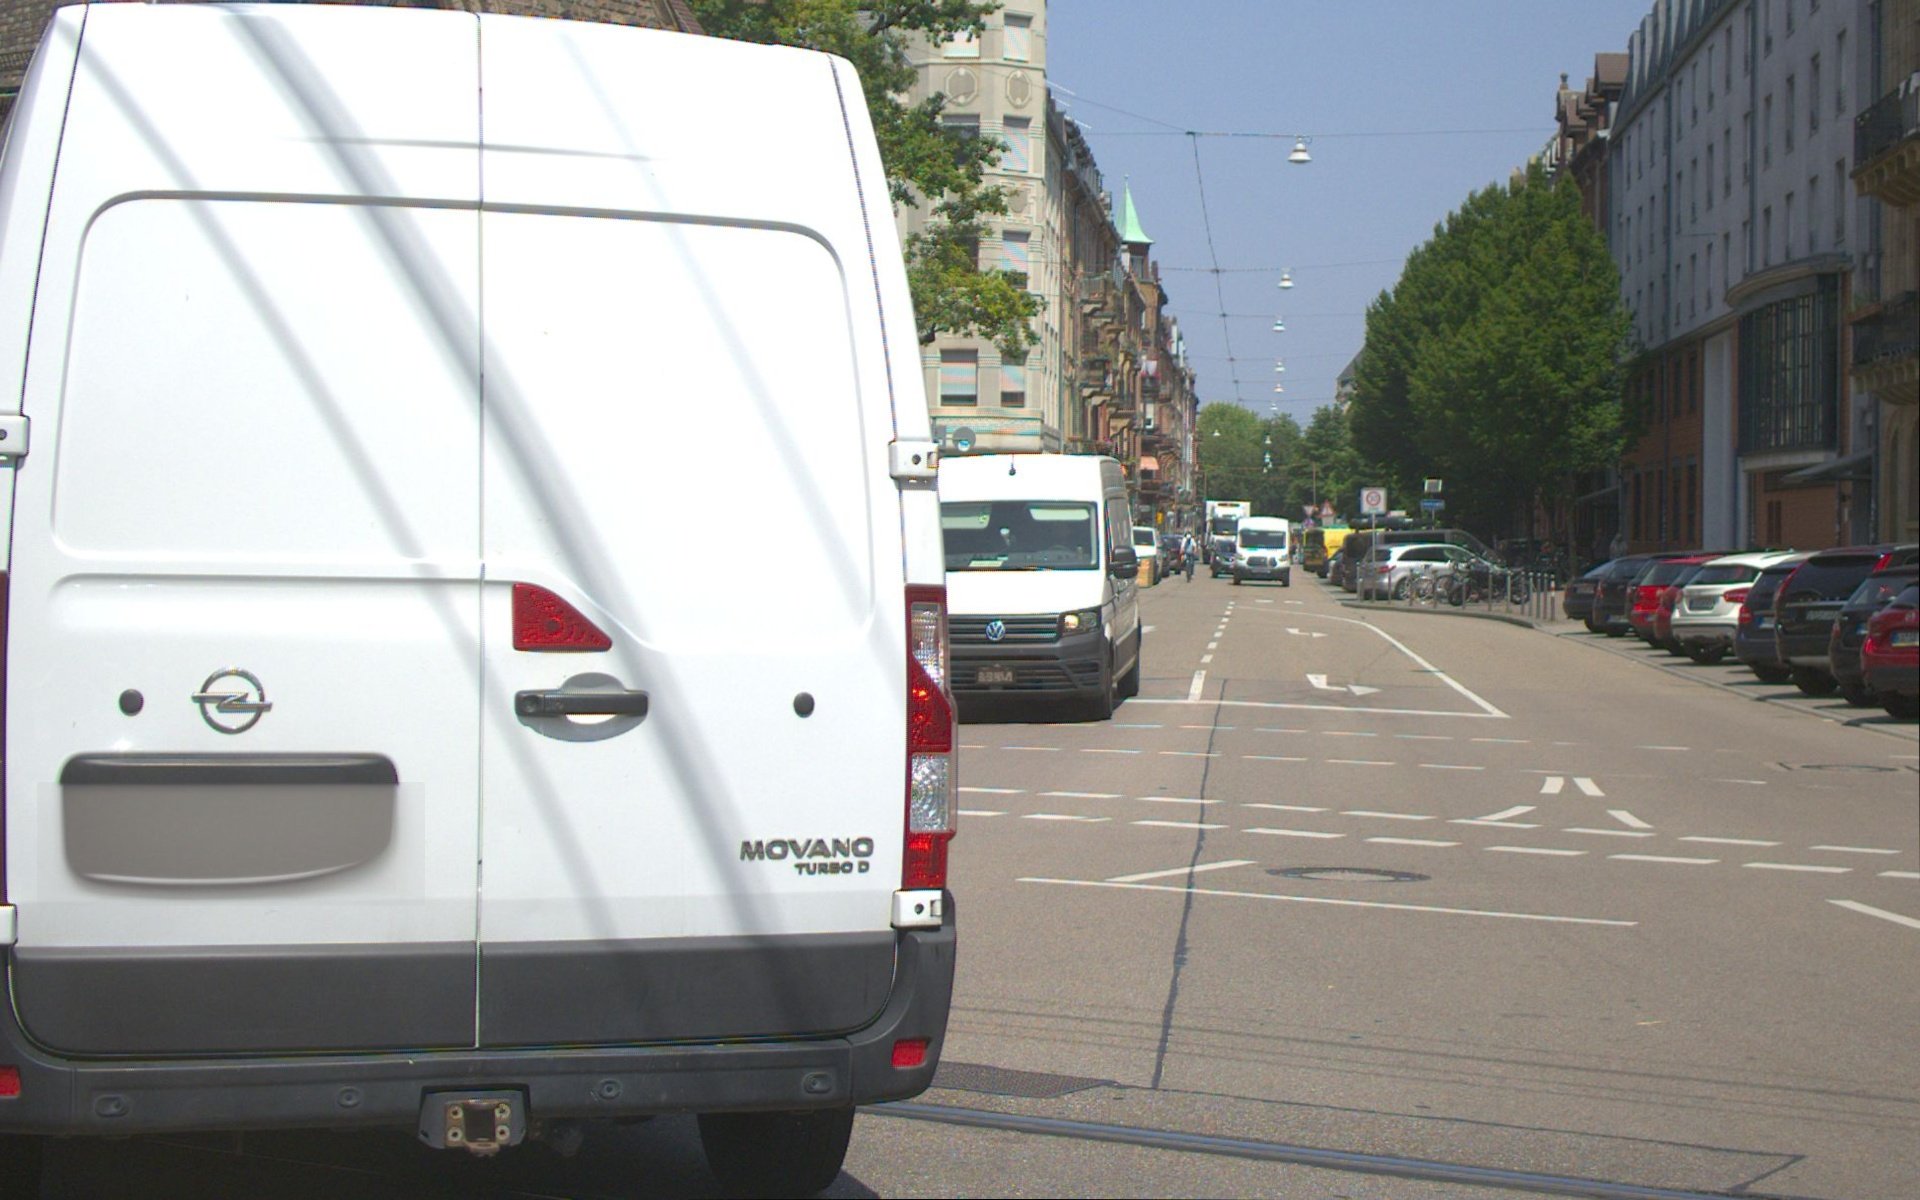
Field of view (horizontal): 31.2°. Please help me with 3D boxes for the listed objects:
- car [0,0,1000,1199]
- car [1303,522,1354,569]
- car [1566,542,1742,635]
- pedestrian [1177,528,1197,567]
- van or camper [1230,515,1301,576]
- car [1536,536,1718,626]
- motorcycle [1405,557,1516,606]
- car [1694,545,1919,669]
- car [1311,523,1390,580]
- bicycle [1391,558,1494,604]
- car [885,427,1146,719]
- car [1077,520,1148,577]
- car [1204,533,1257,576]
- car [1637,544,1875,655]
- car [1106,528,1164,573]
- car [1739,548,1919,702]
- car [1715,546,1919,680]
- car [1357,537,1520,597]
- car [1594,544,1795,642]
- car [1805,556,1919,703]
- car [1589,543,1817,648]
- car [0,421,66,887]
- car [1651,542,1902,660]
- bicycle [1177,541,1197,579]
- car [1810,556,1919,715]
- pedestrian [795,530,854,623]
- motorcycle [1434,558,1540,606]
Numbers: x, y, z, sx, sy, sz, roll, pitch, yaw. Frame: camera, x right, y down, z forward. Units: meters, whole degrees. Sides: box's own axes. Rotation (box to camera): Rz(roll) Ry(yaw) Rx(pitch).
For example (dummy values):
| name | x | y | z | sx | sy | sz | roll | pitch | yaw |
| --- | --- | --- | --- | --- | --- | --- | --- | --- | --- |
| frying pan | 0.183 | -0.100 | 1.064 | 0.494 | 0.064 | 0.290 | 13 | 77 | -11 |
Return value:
| name | x | y | z | sx | sy | sz | roll | pitch | yaw |
| --- | --- | --- | --- | --- | --- | --- | --- | --- | --- |
| car | -1.753 | 0.075 | 8.774 | 2.116 | 2.450 | 5.056 | 1 | 1 | -19 |
| car | 16.239 | -2.382 | 151.455 | 1.907 | 2.007 | 3.998 | 0 | 0 | 11 |
| car | 12.352 | -0.217 | 61.080 | 3.218 | 1.570 | 1.495 | -1 | 0 | -45 |
| pedestrian | 8.293 | -1.933 | 125.670 | 0.730 | 1.415 | 0.798 | 1 | 1 | 3 |
| van or camper | 10.933 | -1.976 | 123.447 | 2.036 | 2.134 | 4.580 | 0 | 1 | -1 |
| car | 12.372 | -0.359 | 63.711 | 3.217 | 1.570 | 1.616 | -1 | 0 | -40 |
| motorcycle | 12.396 | -0.457 | 85.191 | 2.710 | 1.170 | 0.775 | 1 | 0 | 8 |
| car | 11.576 | 0.085 | 45.981 | 3.216 | 1.570 | 1.616 | -1 | 0 | -34 |
| car | 12.463 | -1.569 | 109.992 | 1.953 | 1.744 | 4.001 | 0 | 1 | -2 |
| bicycle | 12.543 | -0.496 | 89.330 | 2.589 | 1.170 | 0.683 | 1 | 0 | -17 |
| car | 0.680 | -0.281 | 34.618 | 2.071 | 2.628 | 6.632 | 1 | 1 | 6 |
| car | 4.841 | -1.653 | 109.365 | 1.953 | 1.744 | 4.001 | 0 | 1 | -2 |
| car | 11.230 | -1.880 | 142.910 | 1.994 | 1.762 | 4.000 | 1 | 1 | 2 |
| car | 11.967 | -0.012 | 51.682 | 3.216 | 1.570 | 1.617 | -1 | 0 | -30 |
| car | 6.994 | -1.996 | 137.679 | 1.953 | 1.744 | 4.001 | 0 | 1 | -2 |
| car | 10.582 | 0.259 | 38.987 | 3.216 | 1.659 | 1.616 | -1 | 0 | -34 |
| car | 11.065 | 0.144 | 42.426 | 3.216 | 1.570 | 1.616 | -1 | 0 | -34 |
| car | 12.959 | -0.894 | 93.102 | 3.986 | 1.543 | 1.750 | 1 | 1 | -18 |
| car | 12.454 | -0.128 | 58.264 | 3.217 | 1.570 | 1.616 | -1 | 0 | -39 |
| car | 10.607 | 0.274 | 36.054 | 3.216 | 1.474 | 1.616 | -1 | 0 | -34 |
| car | 11.721 | -0.075 | 54.236 | 3.216 | 1.570 | 1.617 | -1 | 0 | -30 |
| car | -5.674 | 0.176 | 15.738 | 1.916 | 1.937 | 4.264 | 0 | 2 | -31 |
| car | 11.551 | 0.010 | 48.629 | 3.216 | 1.570 | 1.617 | -1 | 0 | -32 |
| bicycle | 8.289 | -1.473 | 125.560 | 0.673 | 1.354 | 2.069 | 1 | 1 | 3 |
| car | 9.947 | 0.300 | 33.163 | 3.216 | 1.474 | 1.616 | -1 | 0 | -34 |
| pedestrian | -2.307 | -0.398 | 58.495 | 0.719 | 1.553 | 0.791 | 1 | 0 | 23 |
| motorcycle | 13.175 | -0.454 | 86.027 | 2.591 | 1.170 | 0.682 | 1 | 0 | 8 |
